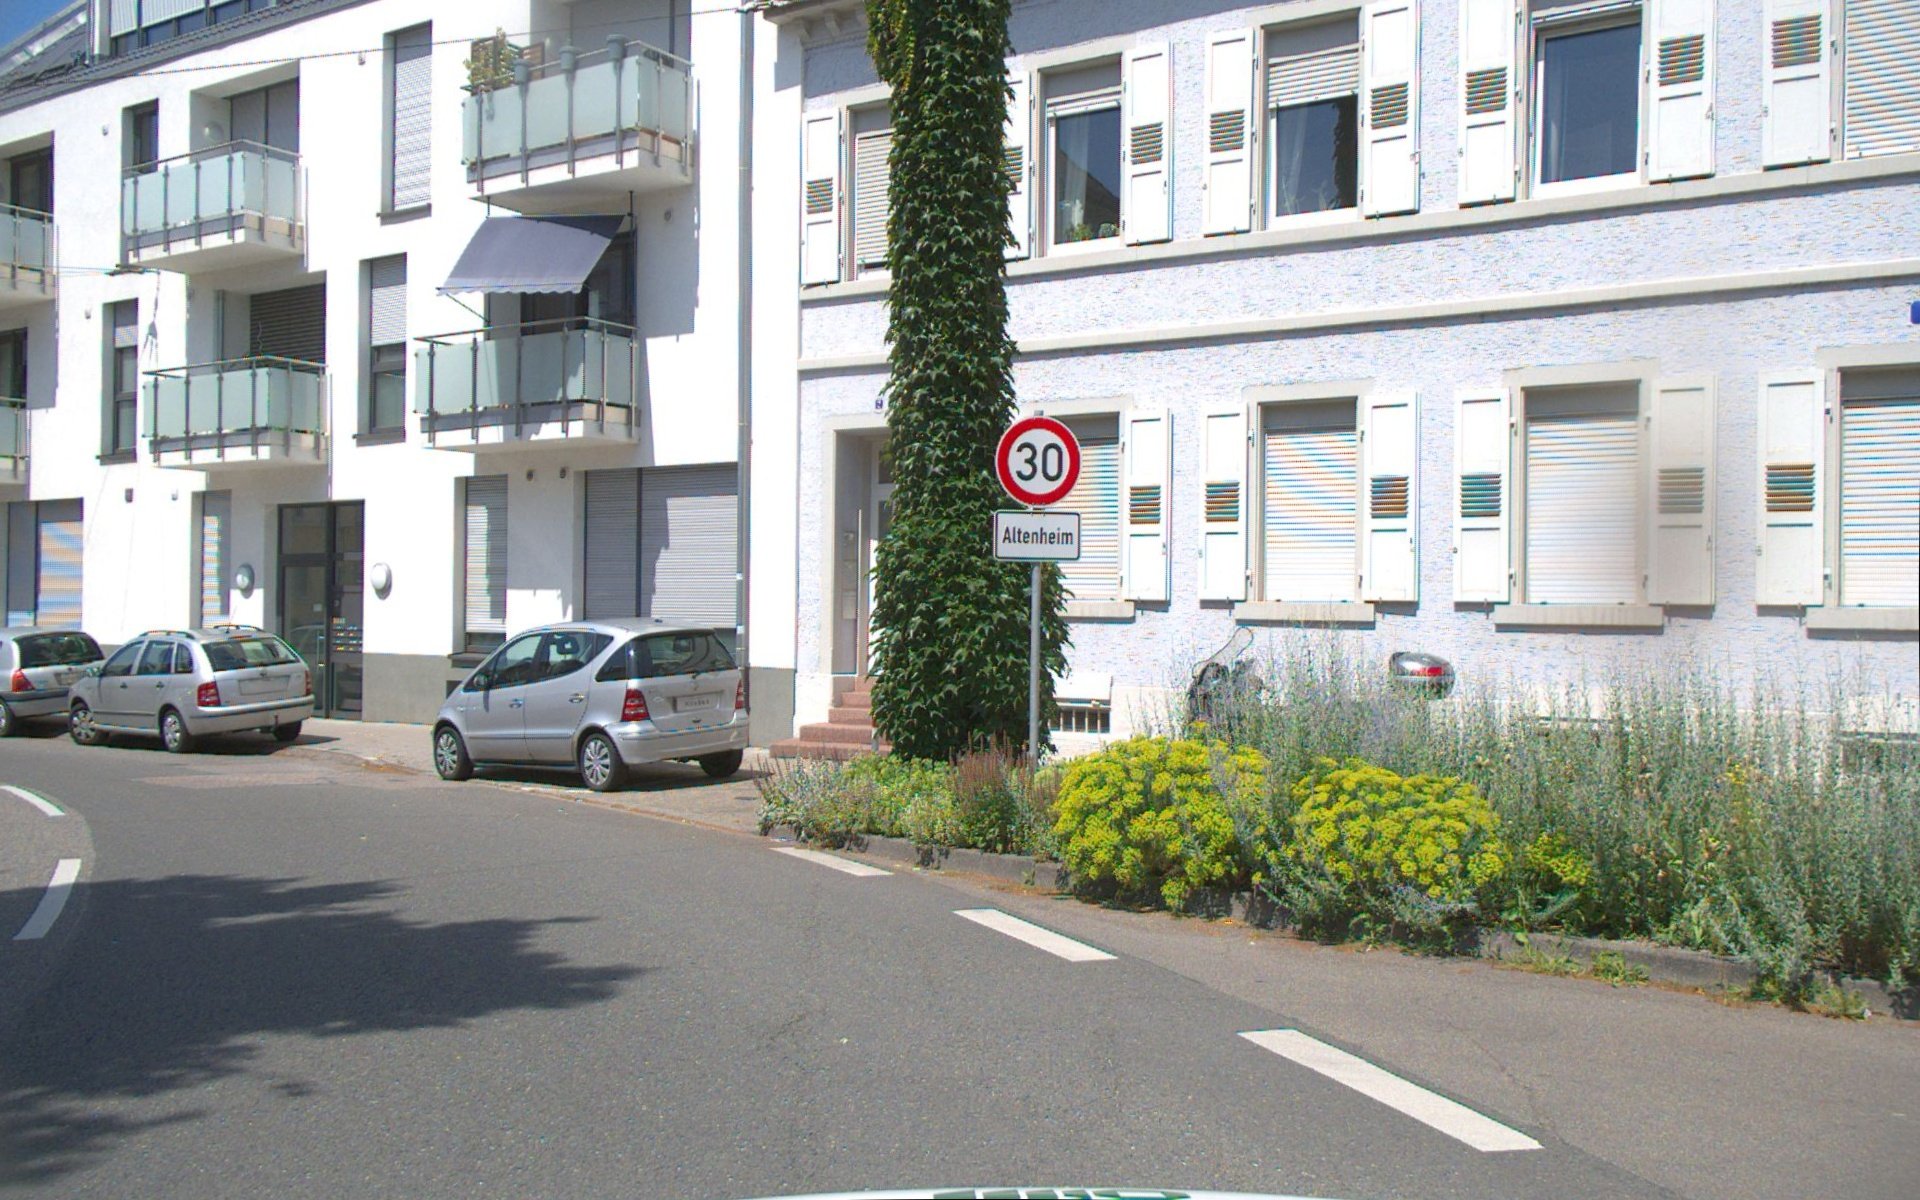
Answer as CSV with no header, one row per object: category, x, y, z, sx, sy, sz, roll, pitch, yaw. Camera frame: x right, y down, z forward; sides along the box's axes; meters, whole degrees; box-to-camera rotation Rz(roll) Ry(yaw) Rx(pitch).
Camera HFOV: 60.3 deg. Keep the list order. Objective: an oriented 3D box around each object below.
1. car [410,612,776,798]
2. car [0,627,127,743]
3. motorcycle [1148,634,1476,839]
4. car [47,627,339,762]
car,-3.808,0.988,16.900,3.729,1.639,1.723,-1,1,40
car,-13.874,1.178,23.945,3.629,1.458,1.594,-1,3,33
motorcycle,2.604,0.958,12.399,2.292,1.376,0.799,0,-1,38
car,-9.951,1.145,21.359,3.963,1.458,1.726,0,3,37
